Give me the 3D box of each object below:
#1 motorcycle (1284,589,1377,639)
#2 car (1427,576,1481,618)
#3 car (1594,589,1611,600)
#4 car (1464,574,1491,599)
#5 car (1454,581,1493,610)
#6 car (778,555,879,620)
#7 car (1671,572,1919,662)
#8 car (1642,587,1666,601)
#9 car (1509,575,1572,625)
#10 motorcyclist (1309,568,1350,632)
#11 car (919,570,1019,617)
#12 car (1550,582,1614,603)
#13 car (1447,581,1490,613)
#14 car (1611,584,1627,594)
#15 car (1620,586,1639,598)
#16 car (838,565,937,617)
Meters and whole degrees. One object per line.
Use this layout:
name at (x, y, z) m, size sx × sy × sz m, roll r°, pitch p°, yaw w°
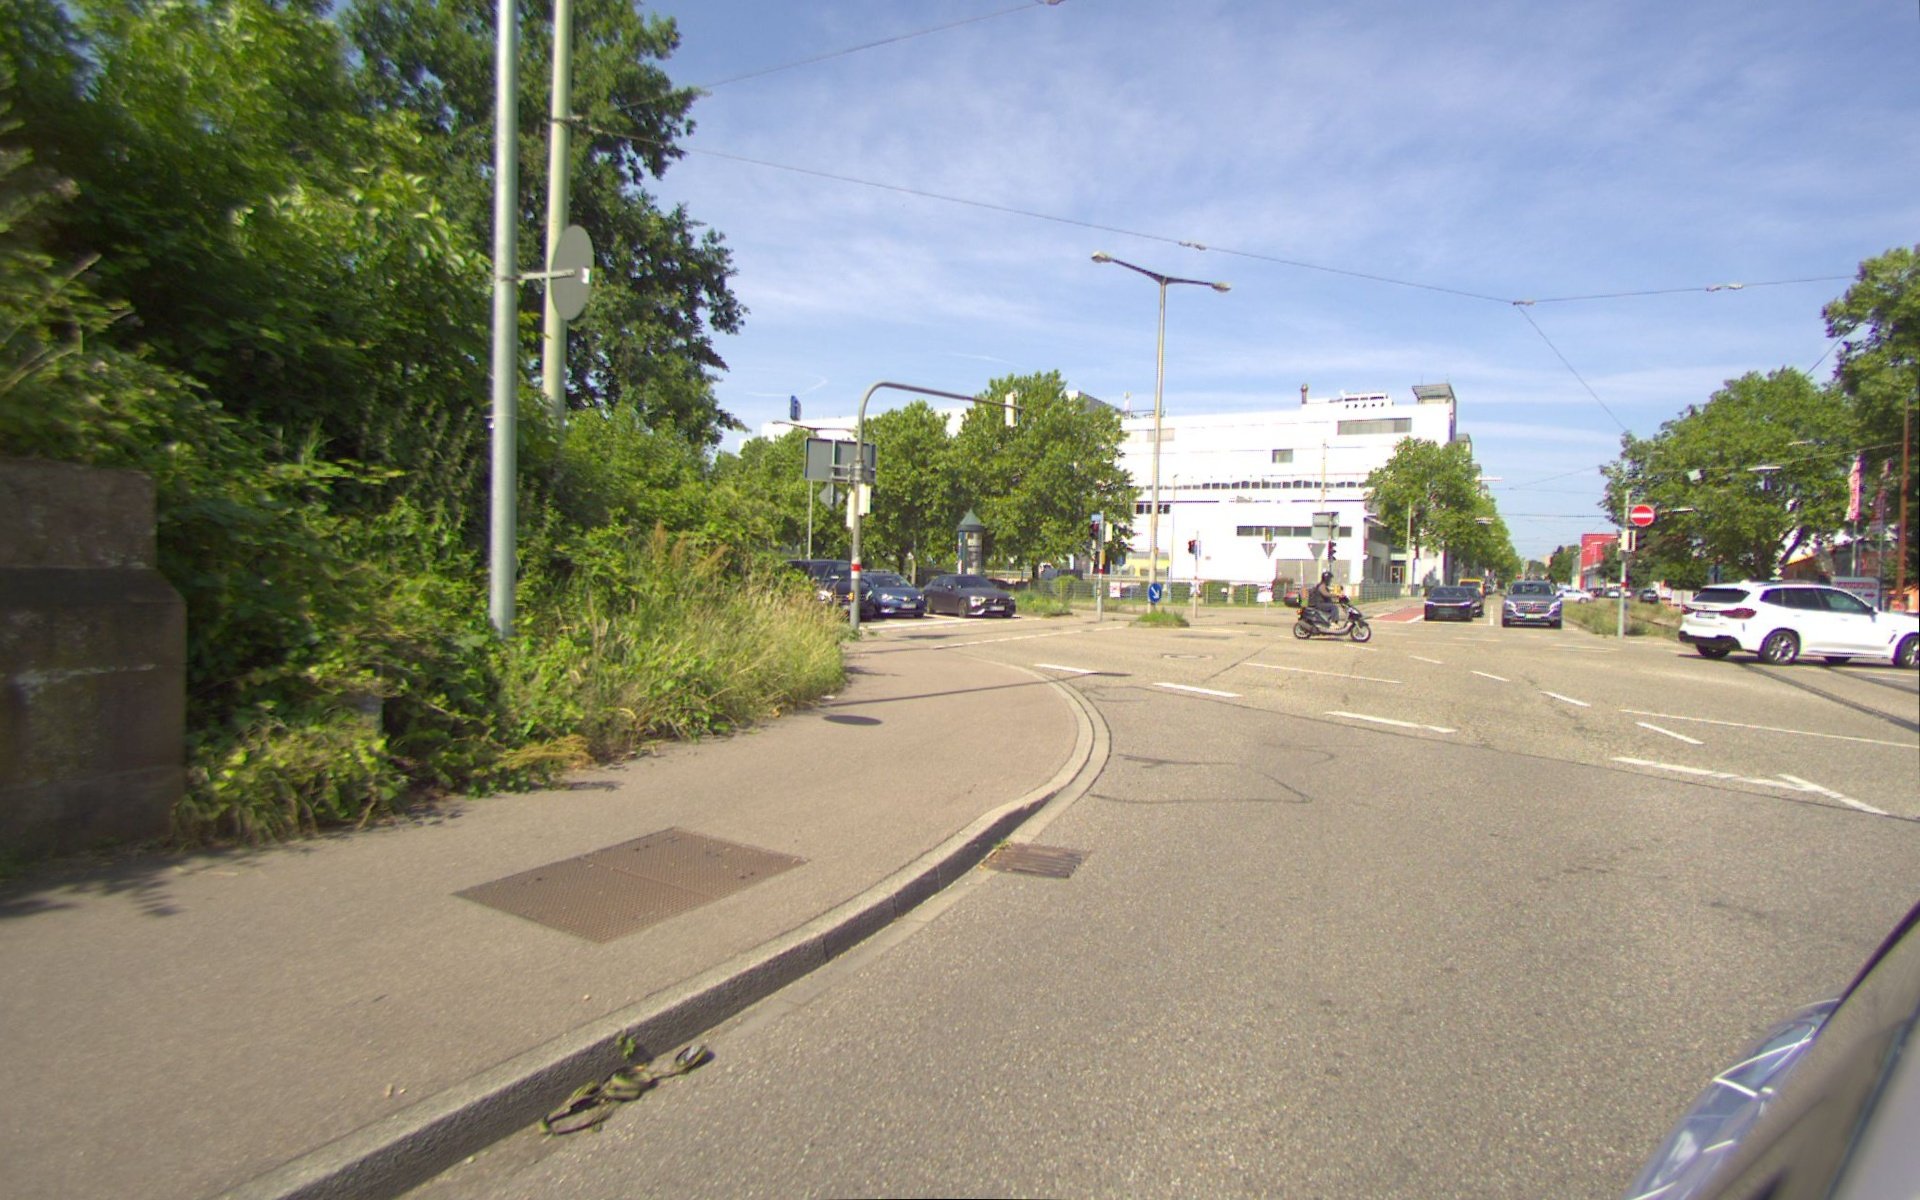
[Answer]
motorcycle at (8.805, 0.319, 24.098) m, size 2.020 × 1.096 × 0.732 m, roll 2°, pitch 2°, yaw 23°
car at (21.752, -0.165, 44.471) m, size 1.899 × 1.709 × 4.581 m, roll 2°, pitch 2°, yaw 28°
car at (98.377, -0.855, 155.029) m, size 1.835 × 1.529 × 4.299 m, roll 2°, pitch 2°, yaw 29°
car at (40.939, -1.079, 80.048) m, size 1.766 × 1.832 × 4.581 m, roll 2°, pitch 2°, yaw 28°
car at (28.278, -0.269, 55.653) m, size 1.766 × 1.461 × 4.581 m, roll 2°, pitch 2°, yaw 28°
car at (-4.091, -0.427, 30.952) m, size 1.818 × 1.837 × 4.007 m, roll 1°, pitch 2°, yaw -27°
car at (17.784, 0.329, 21.103) m, size 4.536 × 1.709 × 1.917 m, roll 1°, pitch 1°, yaw -2°
car at (79.106, -0.723, 115.404) m, size 1.835 × 1.529 × 4.299 m, roll 2°, pitch 2°, yaw 29°
car at (21.805, -0.055, 38.138) m, size 1.899 × 1.709 × 4.581 m, roll 2°, pitch 2°, yaw 28°
motorcyclist at (8.797, -0.019, 24.088) m, size 0.863 × 1.464 × 0.732 m, roll 2°, pitch 1°, yaw 22°
car at (0.216, -0.275, 34.329) m, size 1.684 × 1.395 × 4.482 m, roll -1°, pitch 3°, yaw -24°
car at (56.425, -0.702, 91.904) m, size 4.572 × 1.709 × 1.902 m, roll 2°, pitch 2°, yaw 22°
car at (25.650, -0.177, 51.008) m, size 1.766 × 1.461 × 4.581 m, roll 2°, pitch 2°, yaw 28°
car at (104.689, -1.821, 160.745) m, size 1.835 × 1.529 × 4.299 m, roll 2°, pitch 2°, yaw 29°
car at (91.371, -1.164, 138.194) m, size 1.835 × 1.529 × 4.299 m, roll 2°, pitch 2°, yaw 29°
car at (-2.457, -0.346, 33.483) m, size 1.818 × 1.580 × 4.007 m, roll 1°, pitch 2°, yaw -27°
